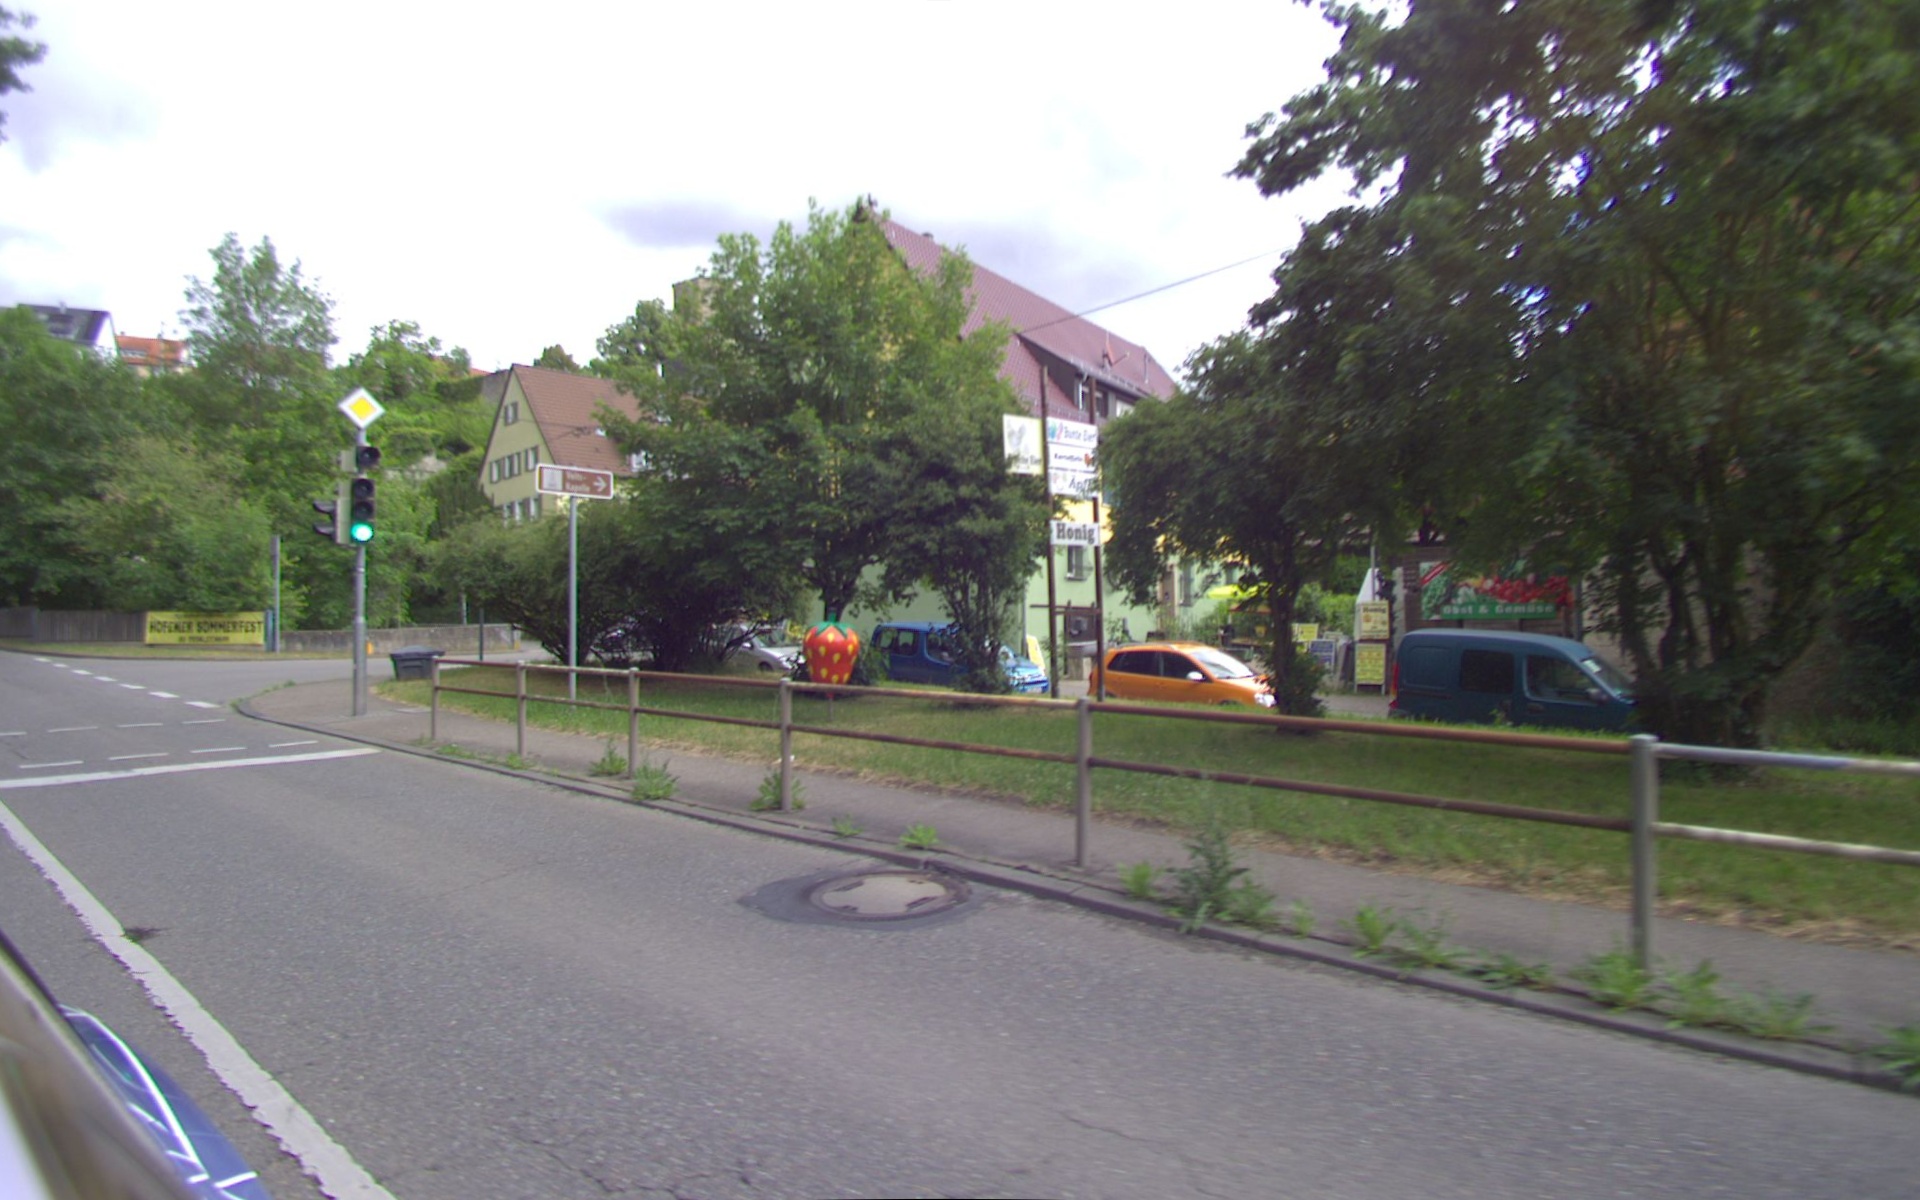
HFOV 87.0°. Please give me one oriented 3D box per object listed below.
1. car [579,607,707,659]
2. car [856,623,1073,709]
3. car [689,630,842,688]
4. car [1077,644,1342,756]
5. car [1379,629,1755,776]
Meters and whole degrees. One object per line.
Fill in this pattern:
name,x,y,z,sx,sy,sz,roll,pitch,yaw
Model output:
car,-11.403,1.158,36.558,1.945,1.608,3.946,-1,1,41
car,0.018,1.339,21.456,4.448,1.630,1.971,-1,-4,43
car,-5.064,1.485,26.084,4.150,1.355,1.628,-1,-4,41
car,4.198,1.618,17.361,4.001,1.630,1.926,-1,-4,44
car,7.926,1.238,13.463,4.001,1.630,1.791,-1,-4,44
